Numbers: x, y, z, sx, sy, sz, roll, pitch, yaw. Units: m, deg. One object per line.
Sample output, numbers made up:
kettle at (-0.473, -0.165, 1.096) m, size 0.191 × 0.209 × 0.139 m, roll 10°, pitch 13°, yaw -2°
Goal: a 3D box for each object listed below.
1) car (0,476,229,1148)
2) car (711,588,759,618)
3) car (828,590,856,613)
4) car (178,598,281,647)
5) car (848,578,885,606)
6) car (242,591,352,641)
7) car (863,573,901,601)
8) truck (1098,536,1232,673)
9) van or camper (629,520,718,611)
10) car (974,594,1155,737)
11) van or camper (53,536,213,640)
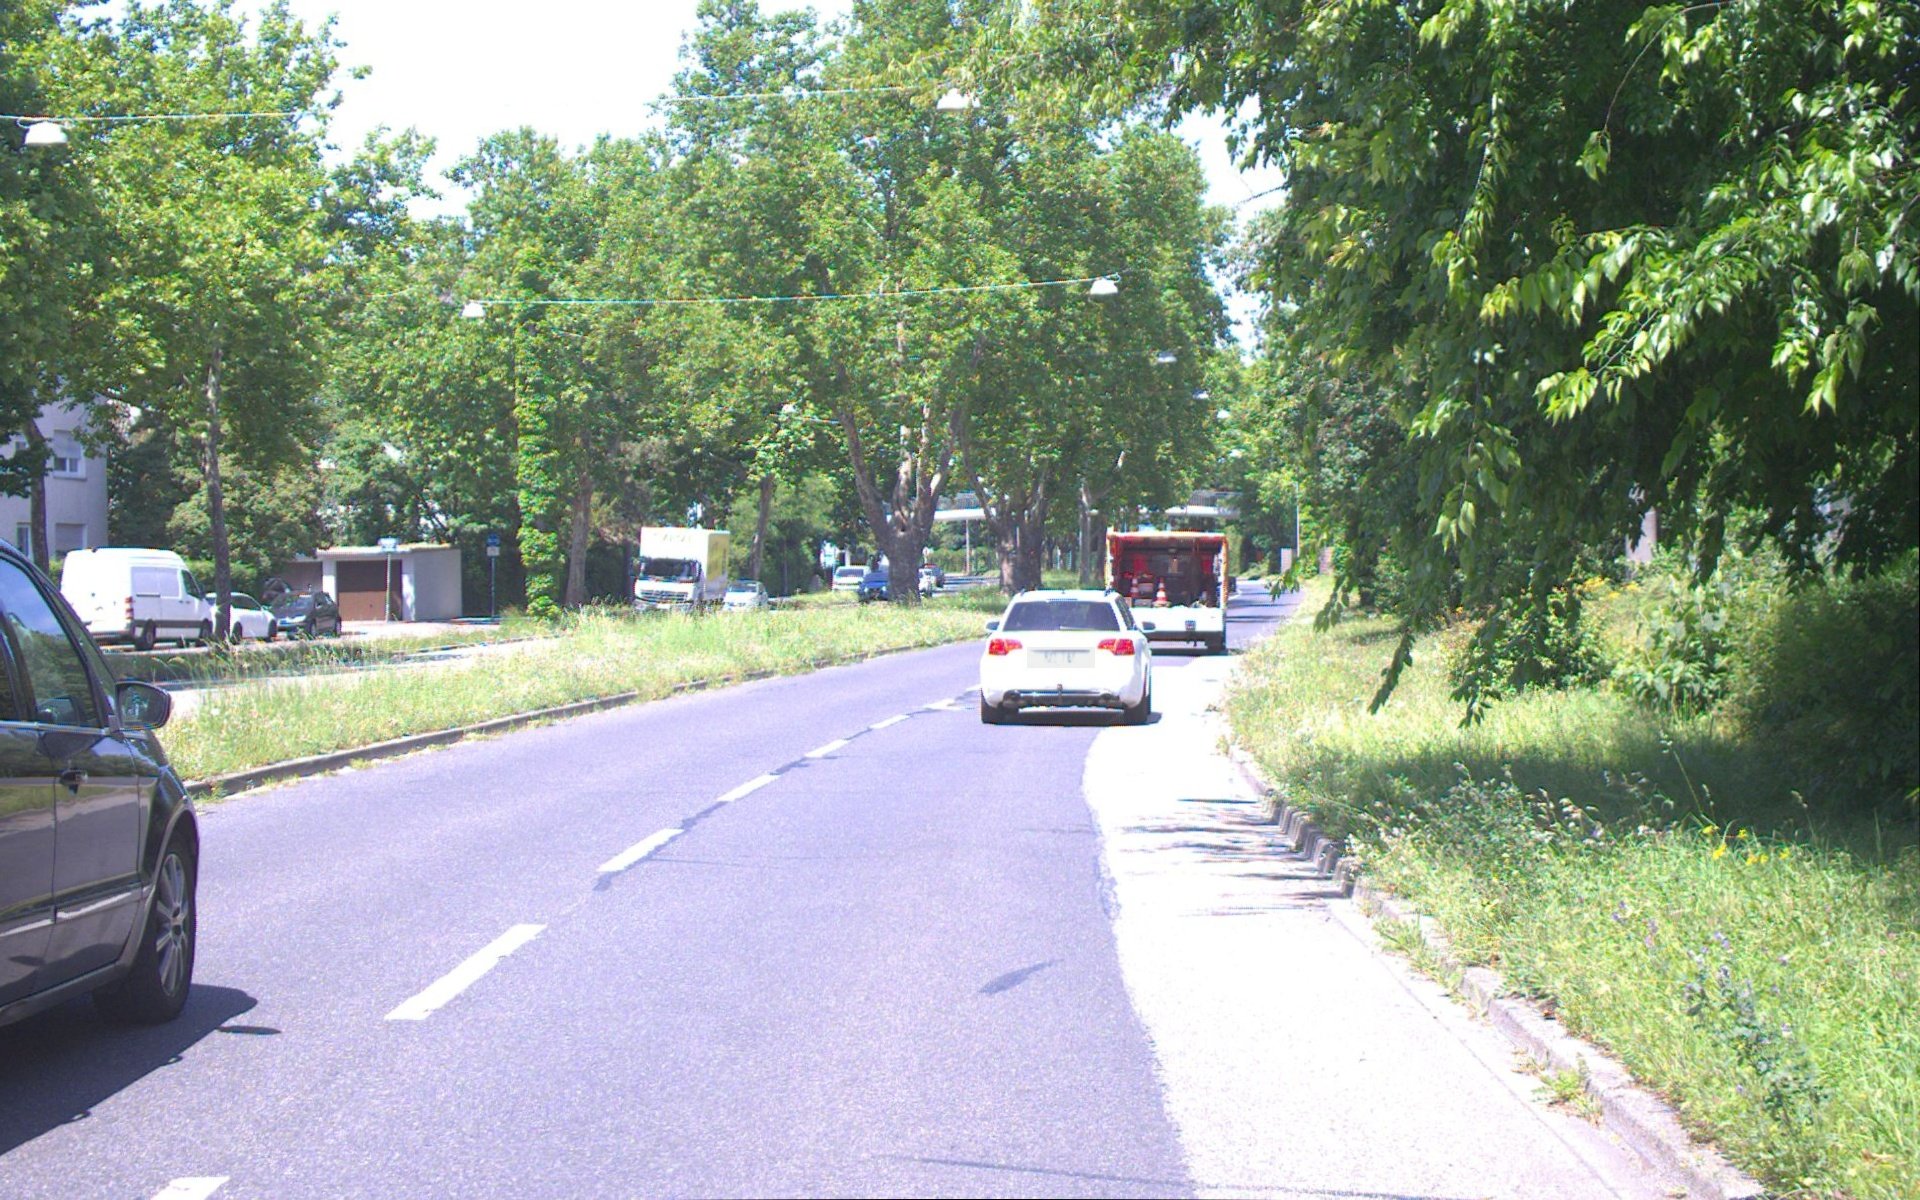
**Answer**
car at (-3.435, 0.549, 9.589) m, size 1.854 × 1.750 × 4.649 m, roll 0°, pitch 0°, yaw -1°
car at (-9.458, 0.131, 144.759) m, size 1.914 × 1.206 × 4.335 m, roll -1°, pitch 0°, yaw -2°
car at (-6.424, 0.068, 187.146) m, size 1.459 × 1.206 × 3.427 m, roll -1°, pitch 0°, yaw -2°
car at (-20.355, 0.608, 95.918) m, size 1.693 × 1.279 × 3.802 m, roll -1°, pitch 1°, yaw 7°
car at (-4.612, -0.395, 169.580) m, size 1.771 × 1.327 × 3.660 m, roll -1°, pitch 0°, yaw -2°
car at (-19.556, 0.455, 101.522) m, size 1.829 × 1.386 × 3.945 m, roll -1°, pitch 1°, yaw 11°
car at (-3.860, -0.655, 169.554) m, size 1.771 × 1.327 × 3.660 m, roll -1°, pitch 1°, yaw -2°
truck at (4.154, 0.015, 68.837) m, size 2.511 × 2.551 × 7.602 m, roll 1°, pitch 1°, yaw 4°
van or camper at (-10.760, -1.313, 129.678) m, size 2.661 × 3.320 × 5.500 m, roll -1°, pitch 0°, yaw 2°
car at (1.182, 0.668, 37.366) m, size 1.763 × 1.440 × 3.615 m, roll 1°, pitch 0°, yaw 4°
van or camper at (-21.463, -0.348, 89.451) m, size 2.183 × 2.579 × 5.307 m, roll -1°, pitch 1°, yaw 8°
